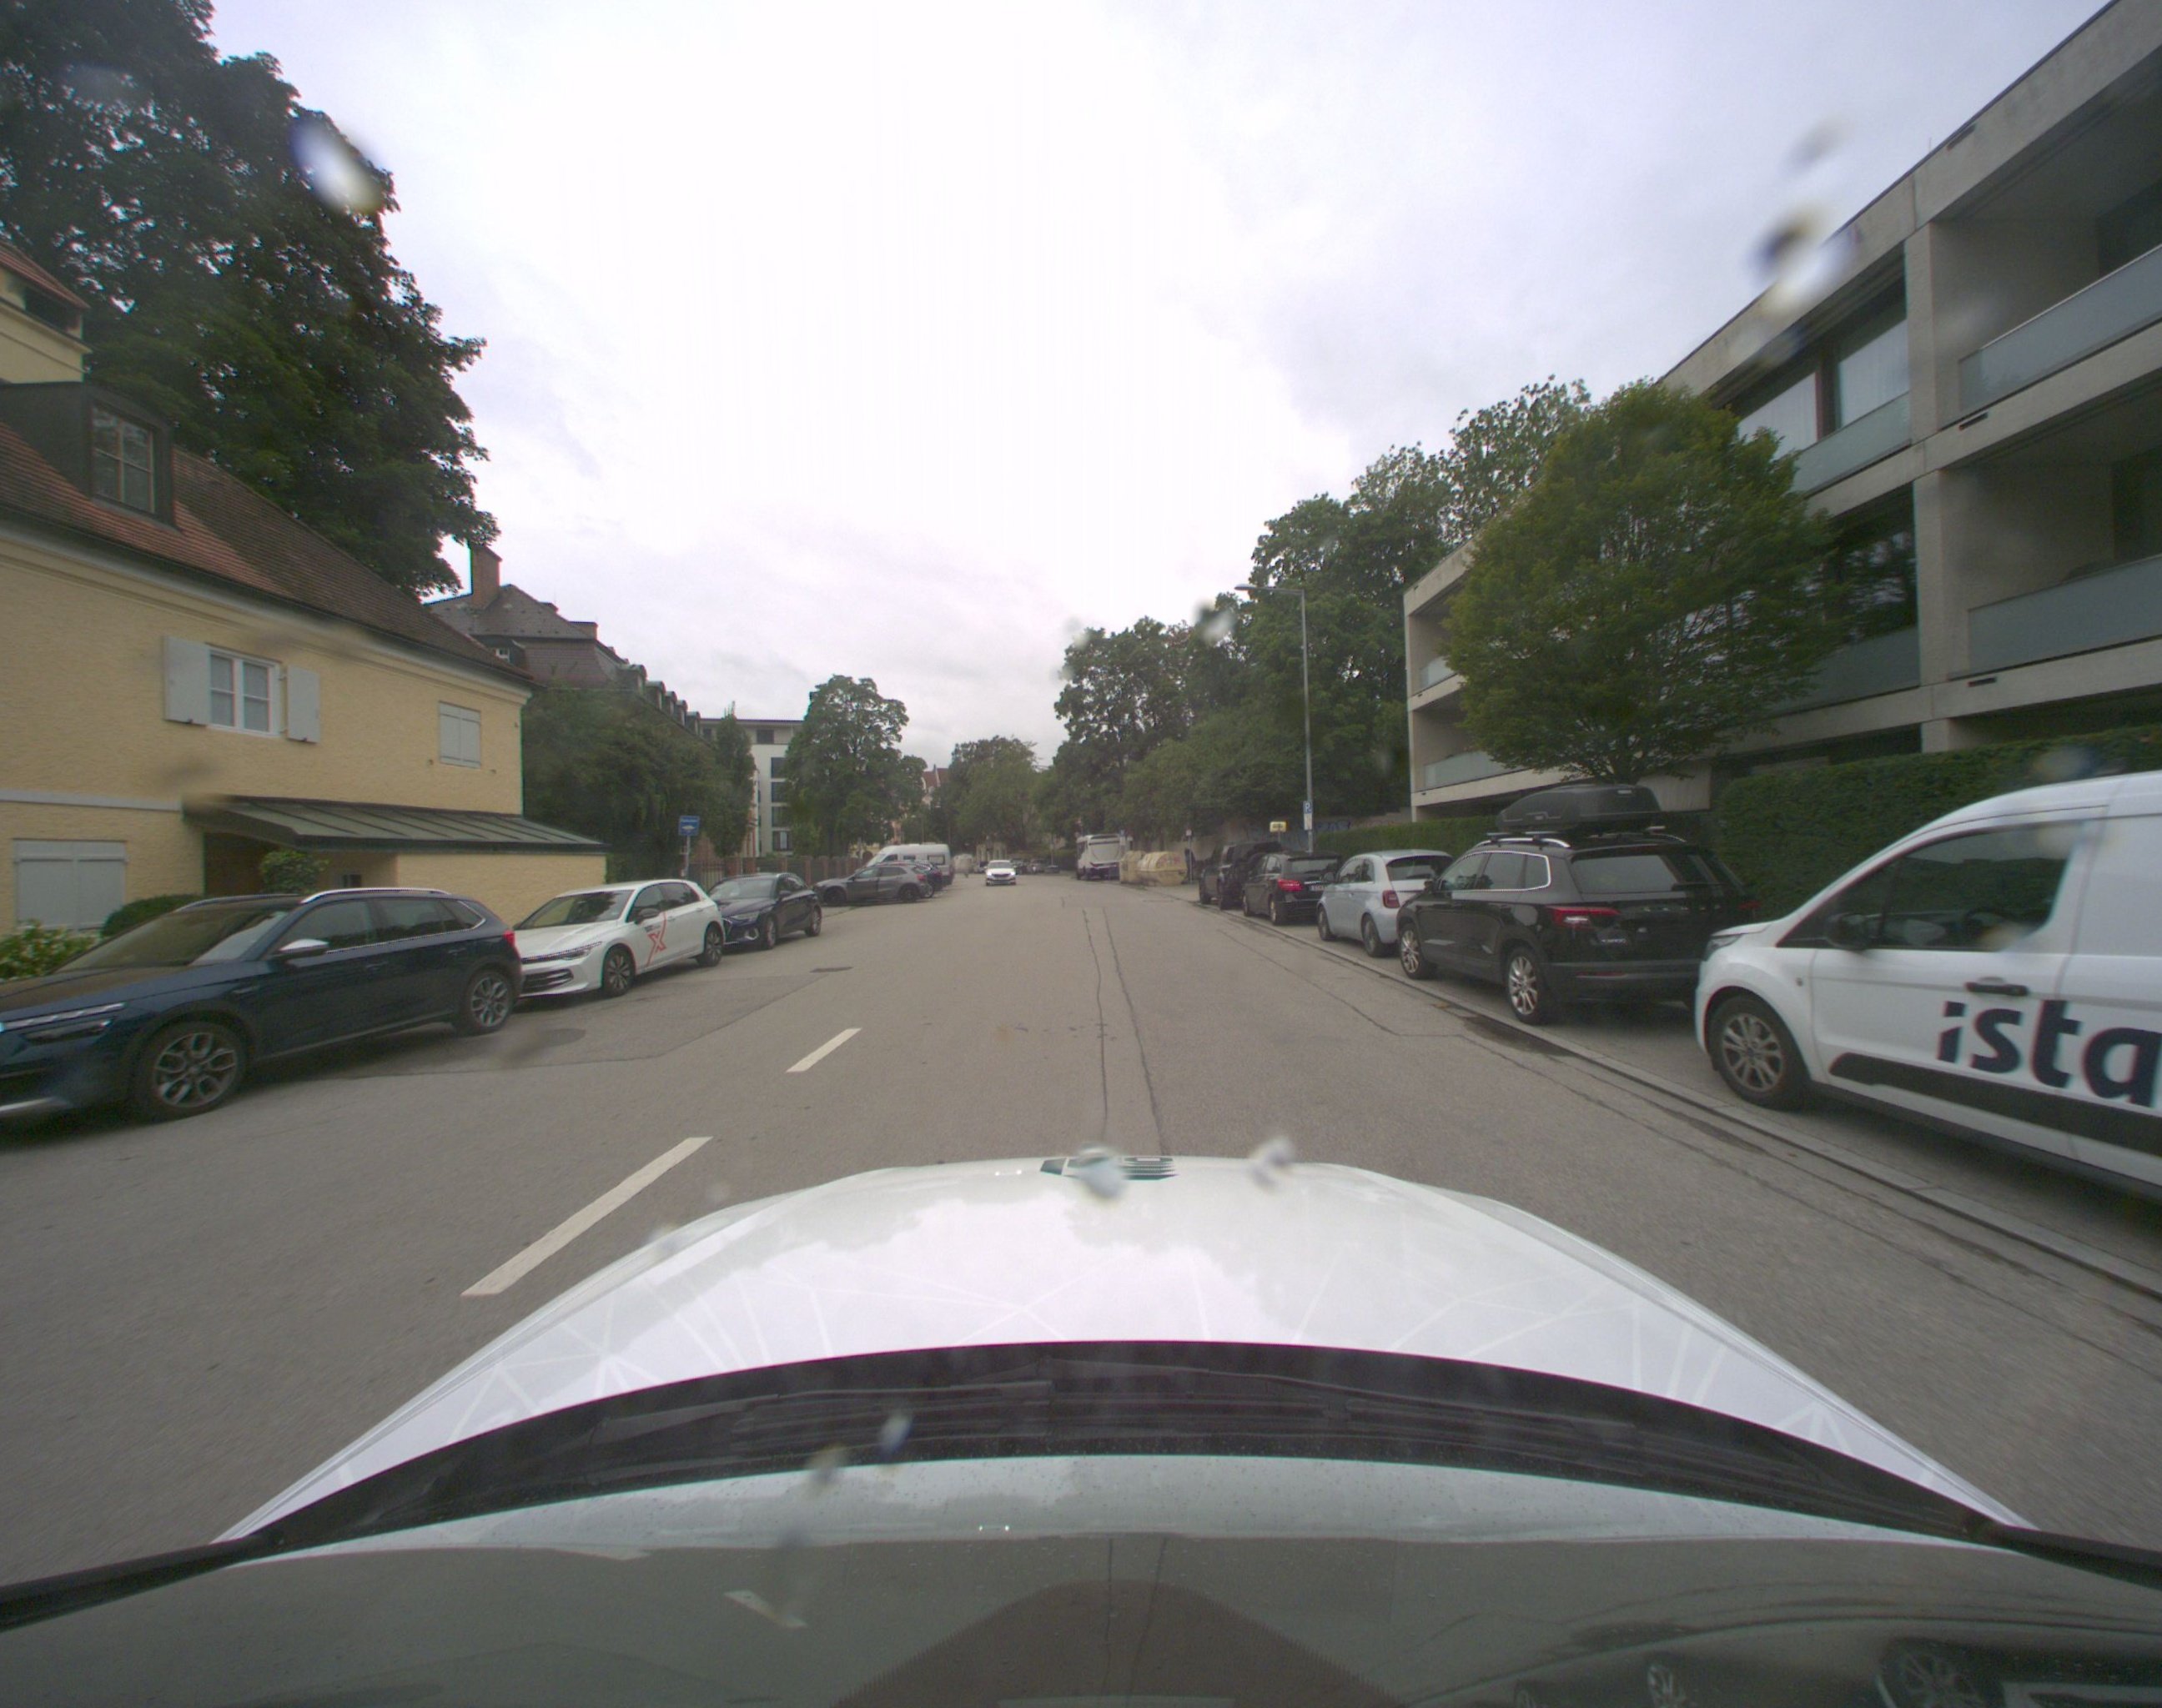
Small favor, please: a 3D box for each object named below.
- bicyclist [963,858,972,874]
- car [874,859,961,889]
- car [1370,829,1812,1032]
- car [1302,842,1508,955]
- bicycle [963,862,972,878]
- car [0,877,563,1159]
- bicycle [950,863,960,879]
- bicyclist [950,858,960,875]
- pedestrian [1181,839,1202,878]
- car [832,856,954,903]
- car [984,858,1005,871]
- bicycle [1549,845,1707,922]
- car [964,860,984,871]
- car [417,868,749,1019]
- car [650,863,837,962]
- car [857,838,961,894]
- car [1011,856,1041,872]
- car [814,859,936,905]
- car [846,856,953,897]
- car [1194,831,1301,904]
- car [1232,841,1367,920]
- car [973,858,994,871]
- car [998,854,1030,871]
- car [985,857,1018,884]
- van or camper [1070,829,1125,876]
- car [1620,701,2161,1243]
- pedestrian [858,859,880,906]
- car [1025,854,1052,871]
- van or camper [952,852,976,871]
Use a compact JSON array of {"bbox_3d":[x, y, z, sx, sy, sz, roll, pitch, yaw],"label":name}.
[{"bbox_3d":[-9.767,1.049,70.135,0.696,1.352,0.927,-2,0,-9],"label":"bicyclist"},{"bbox_3d":[-9.637,1.161,48.133,4.548,1.451,1.955,-4,1,-37],"label":"car"},{"bbox_3d":[4.667,0.554,8.441,1.742,1.480,4.599,-2,0,1],"label":"car"},{"bbox_3d":[4.949,0.596,13.055,1.742,1.480,3.888,-2,0,0],"label":"car"},{"bbox_3d":[-9.760,1.348,70.219,0.706,1.305,2.113,-2,0,-7],"label":"bicycle"},{"bbox_3d":[-6.902,1.086,7.017,1.838,1.535,4.442,-5,-1,1],"label":"car"},{"bbox_3d":[-10.828,1.439,69.936,0.708,1.305,2.109,-2,0,-12],"label":"bicycle"},{"bbox_3d":[-10.835,1.058,69.907,0.697,1.397,0.926,-2,0,-12],"label":"bicyclist"},{"bbox_3d":[5.788,0.235,42.664,0.797,1.985,0.627,-2,0,-17],"label":"pedestrian"},{"bbox_3d":[-7.824,1.041,34.018,4.545,1.593,1.945,-4,0,-33],"label":"car"},{"bbox_3d":[-10.429,1.297,98.280,1.690,1.441,3.974,-3,-1,-19],"label":"car"},{"bbox_3d":[9.294,0.494,13.921,2.019,1.195,0.897,-3,0,12],"label":"bicycle"},{"bbox_3d":[-14.251,1.565,108.444,1.713,1.369,4.411,-3,0,-19],"label":"car"},{"bbox_3d":[-6.783,1.090,11.838,1.838,1.535,4.522,-5,0,1],"label":"car"},{"bbox_3d":[-6.679,1.064,16.757,1.839,1.535,4.561,-5,0,0],"label":"car"},{"bbox_3d":[-8.883,0.592,42.119,4.655,2.563,2.211,-3,1,-33],"label":"car"},{"bbox_3d":[-5.756,1.062,84.936,1.885,1.427,4.191,-4,0,-22],"label":"car"},{"bbox_3d":[-7.844,1.060,31.253,4.336,1.530,1.925,-2,-1,-13],"label":"car"},{"bbox_3d":[-8.703,1.073,39.101,4.545,1.625,1.946,-4,-1,-33],"label":"car"},{"bbox_3d":[4.782,0.389,24.148,1.982,1.871,5.074,-2,-1,-2],"label":"car"},{"bbox_3d":[4.844,0.540,18.778,1.743,1.539,4.567,-2,0,-2],"label":"car"},{"bbox_3d":[-12.314,1.351,103.028,1.712,1.537,4.213,-4,0,-19],"label":"car"},{"bbox_3d":[-7.363,0.982,89.261,2.002,1.711,4.848,-4,0,-22],"label":"car"},{"bbox_3d":[-4.651,0.920,48.035,1.769,1.475,4.126,-2,0,-5],"label":"car"},{"bbox_3d":[1.007,-0.063,55.406,2.273,2.906,7.249,-2,0,-11],"label":"van or camper"},{"bbox_3d":[4.629,0.389,3.287,1.815,1.860,4.901,-1,0,2],"label":"car"},{"bbox_3d":[-7.827,1.046,30.043,0.589,1.648,0.713,-4,-1,-7],"label":"pedestrian"},{"bbox_3d":[-4.232,0.873,81.117,1.746,1.536,2.924,-4,0,-22],"label":"car"},{"bbox_3d":[-16.561,1.108,114.872,2.200,2.550,5.689,-4,0,-20],"label":"van or camper"}]
